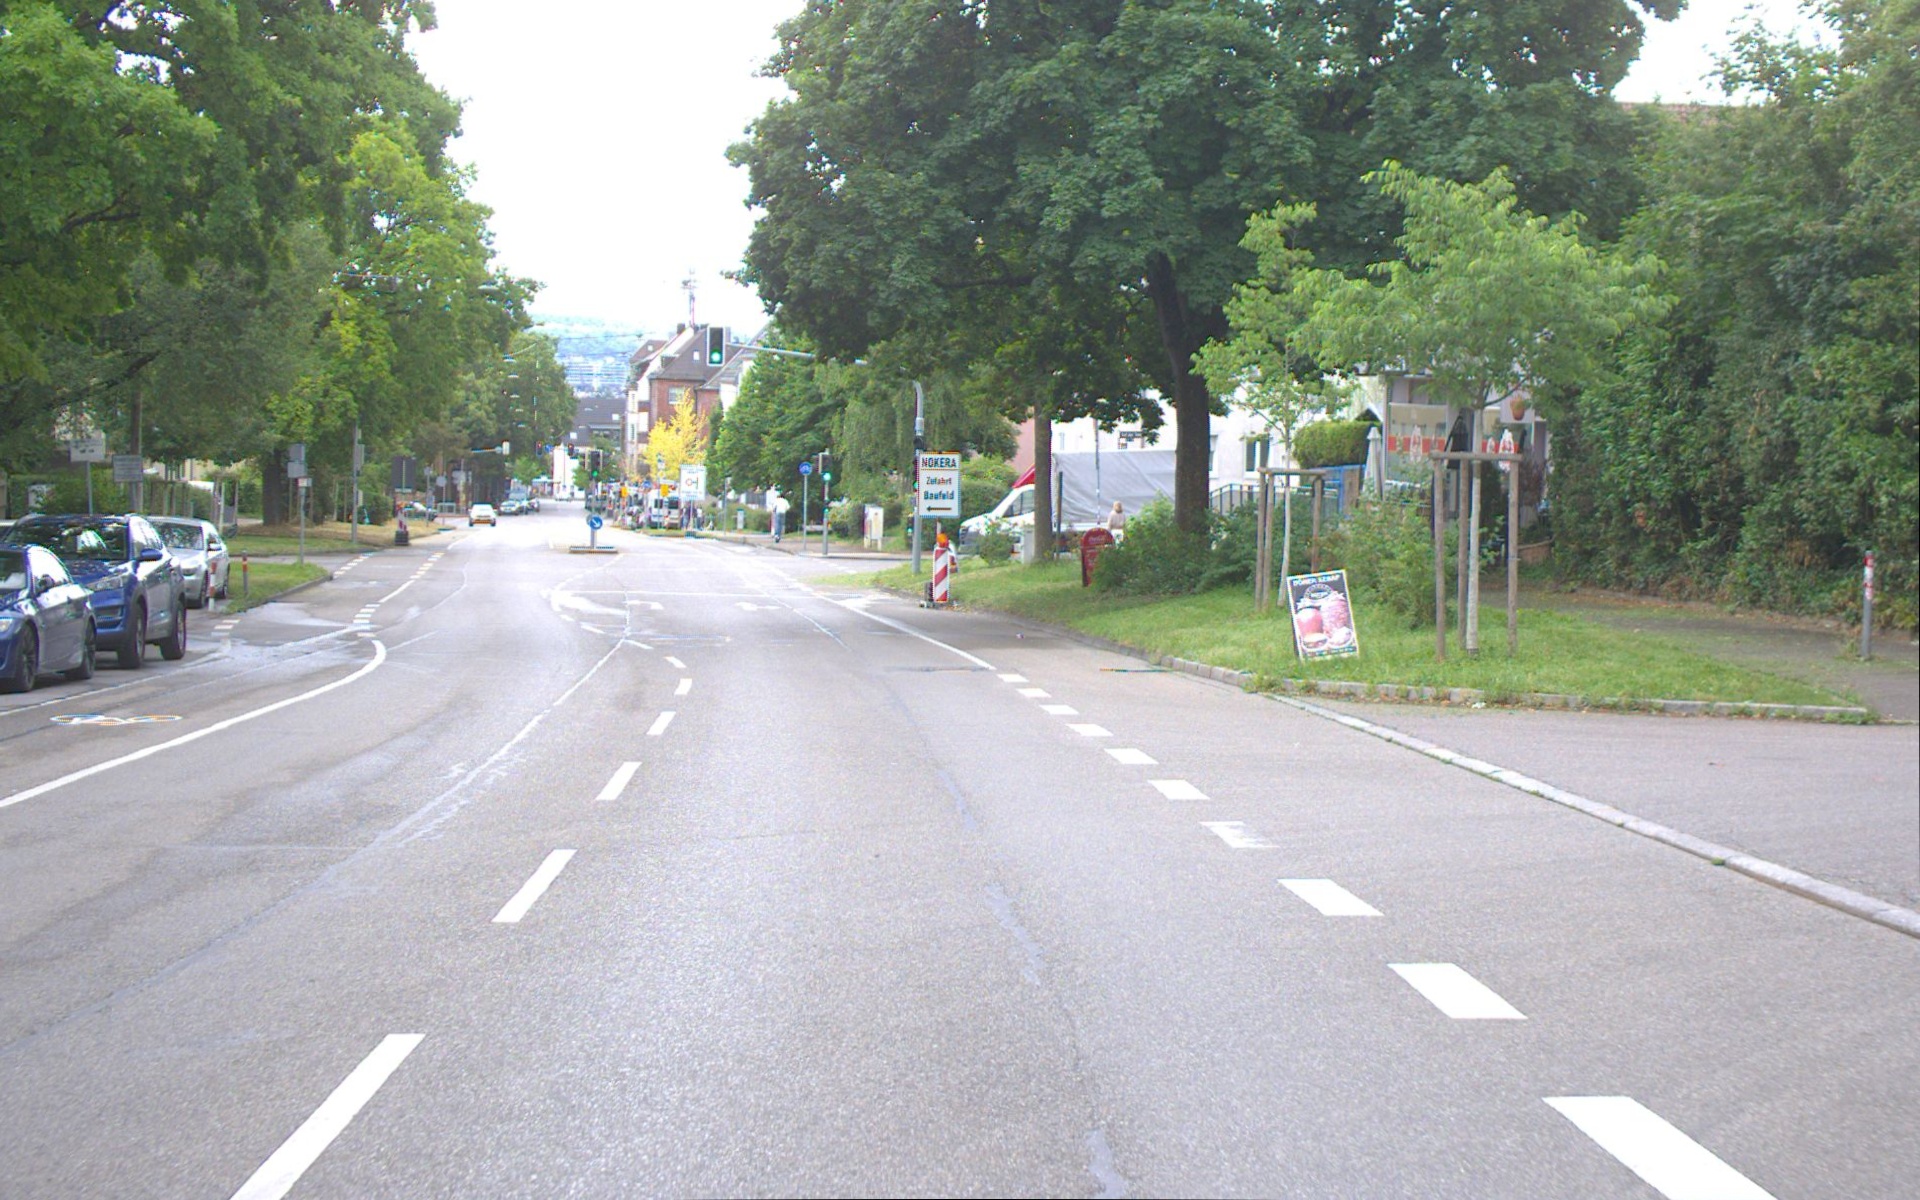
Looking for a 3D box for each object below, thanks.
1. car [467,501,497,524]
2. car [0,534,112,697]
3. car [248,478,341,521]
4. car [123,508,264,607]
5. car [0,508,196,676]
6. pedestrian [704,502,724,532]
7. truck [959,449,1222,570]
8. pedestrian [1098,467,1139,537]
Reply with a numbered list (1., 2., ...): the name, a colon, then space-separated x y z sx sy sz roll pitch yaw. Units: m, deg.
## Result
1. car: -33.092 -6.040 237.844 1.993 1.500 4.001 2 1 -8
2. car: -9.204 0.092 32.224 1.715 1.384 4.339 1 1 -4
3. car: -26.085 -3.947 134.890 3.448 1.590 2.001 2 1 -8
4. car: -13.461 -0.775 60.583 1.761 1.627 4.754 2 1 -5
5. car: -9.589 -0.140 37.691 1.715 1.607 4.536 1 2 -4
6. pedestrian: -15.355 -5.176 214.426 1.200 1.804 1.301 2 1 -6
7. truck: 3.750 -2.625 99.656 7.225 3.295 2.541 1 2 -8
8. pedestrian: 4.253 -2.651 92.423 0.747 1.848 0.955 -2 3 -21
